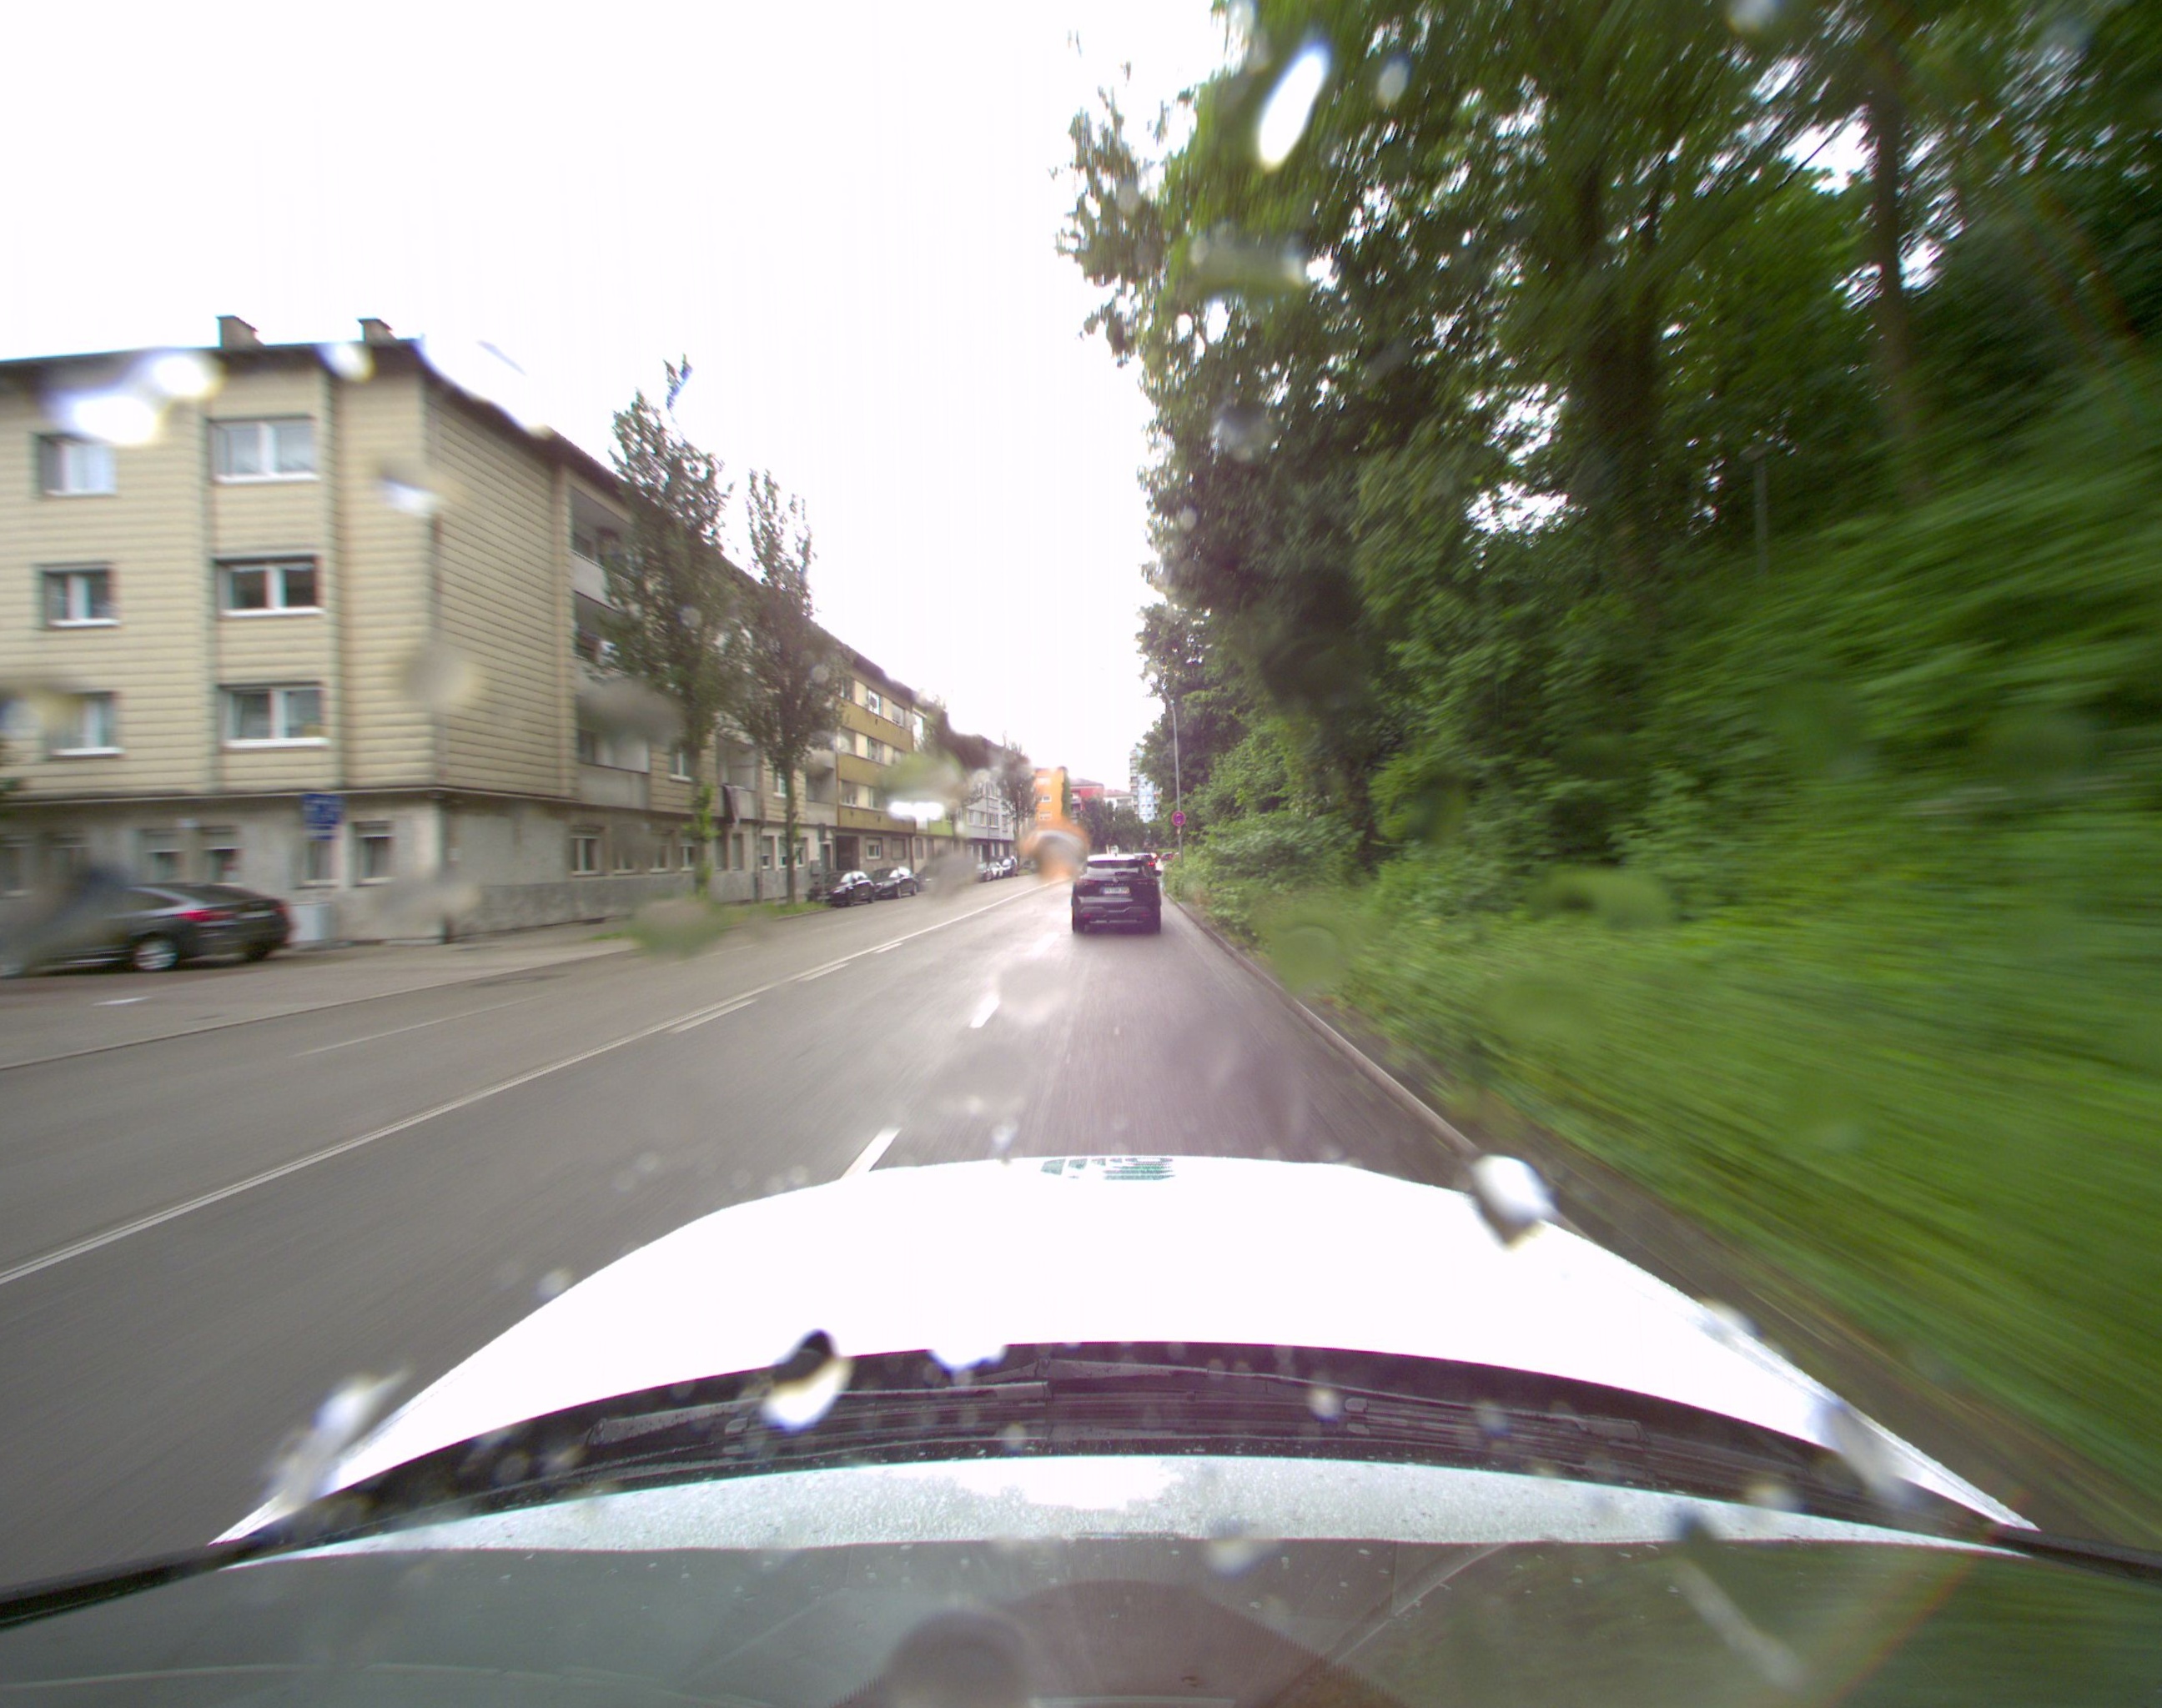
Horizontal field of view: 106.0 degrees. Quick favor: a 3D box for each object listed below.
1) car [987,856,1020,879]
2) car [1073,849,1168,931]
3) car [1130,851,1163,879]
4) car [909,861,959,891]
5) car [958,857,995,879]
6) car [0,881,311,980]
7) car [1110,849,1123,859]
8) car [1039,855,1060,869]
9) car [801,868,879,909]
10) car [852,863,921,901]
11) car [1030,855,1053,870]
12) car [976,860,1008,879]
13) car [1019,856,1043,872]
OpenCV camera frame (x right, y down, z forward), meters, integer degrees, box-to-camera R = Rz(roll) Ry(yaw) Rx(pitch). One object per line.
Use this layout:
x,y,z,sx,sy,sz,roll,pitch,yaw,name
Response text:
-6.711,1.127,70.870,1.881,1.766,4.609,-3,0,6,car
0.806,0.682,17.894,1.838,1.582,4.001,-1,0,1,car
4.267,0.676,52.767,1.877,1.711,4.008,-1,0,7,car
-8.574,1.230,47.835,1.710,1.488,4.520,-4,0,4,car
-7.570,0.993,59.507,1.810,1.372,4.684,-4,0,3,car
-17.934,1.431,15.821,4.132,1.579,1.928,-2,1,3,car
5.509,-0.018,125.064,1.698,1.478,3.685,-3,0,5,car
-3.687,0.929,95.416,1.703,1.425,4.331,-4,0,7,car
-9.566,1.327,32.584,1.618,1.387,3.993,-3,0,4,car
-9.077,1.247,38.493,1.810,1.488,4.793,-4,0,3,car
-4.341,0.913,89.574,1.672,1.449,4.284,-5,0,7,car
-7.099,1.214,65.012,1.672,1.376,4.006,-4,0,5,car
-5.124,0.997,83.807,1.680,1.358,4.587,-5,0,6,car
